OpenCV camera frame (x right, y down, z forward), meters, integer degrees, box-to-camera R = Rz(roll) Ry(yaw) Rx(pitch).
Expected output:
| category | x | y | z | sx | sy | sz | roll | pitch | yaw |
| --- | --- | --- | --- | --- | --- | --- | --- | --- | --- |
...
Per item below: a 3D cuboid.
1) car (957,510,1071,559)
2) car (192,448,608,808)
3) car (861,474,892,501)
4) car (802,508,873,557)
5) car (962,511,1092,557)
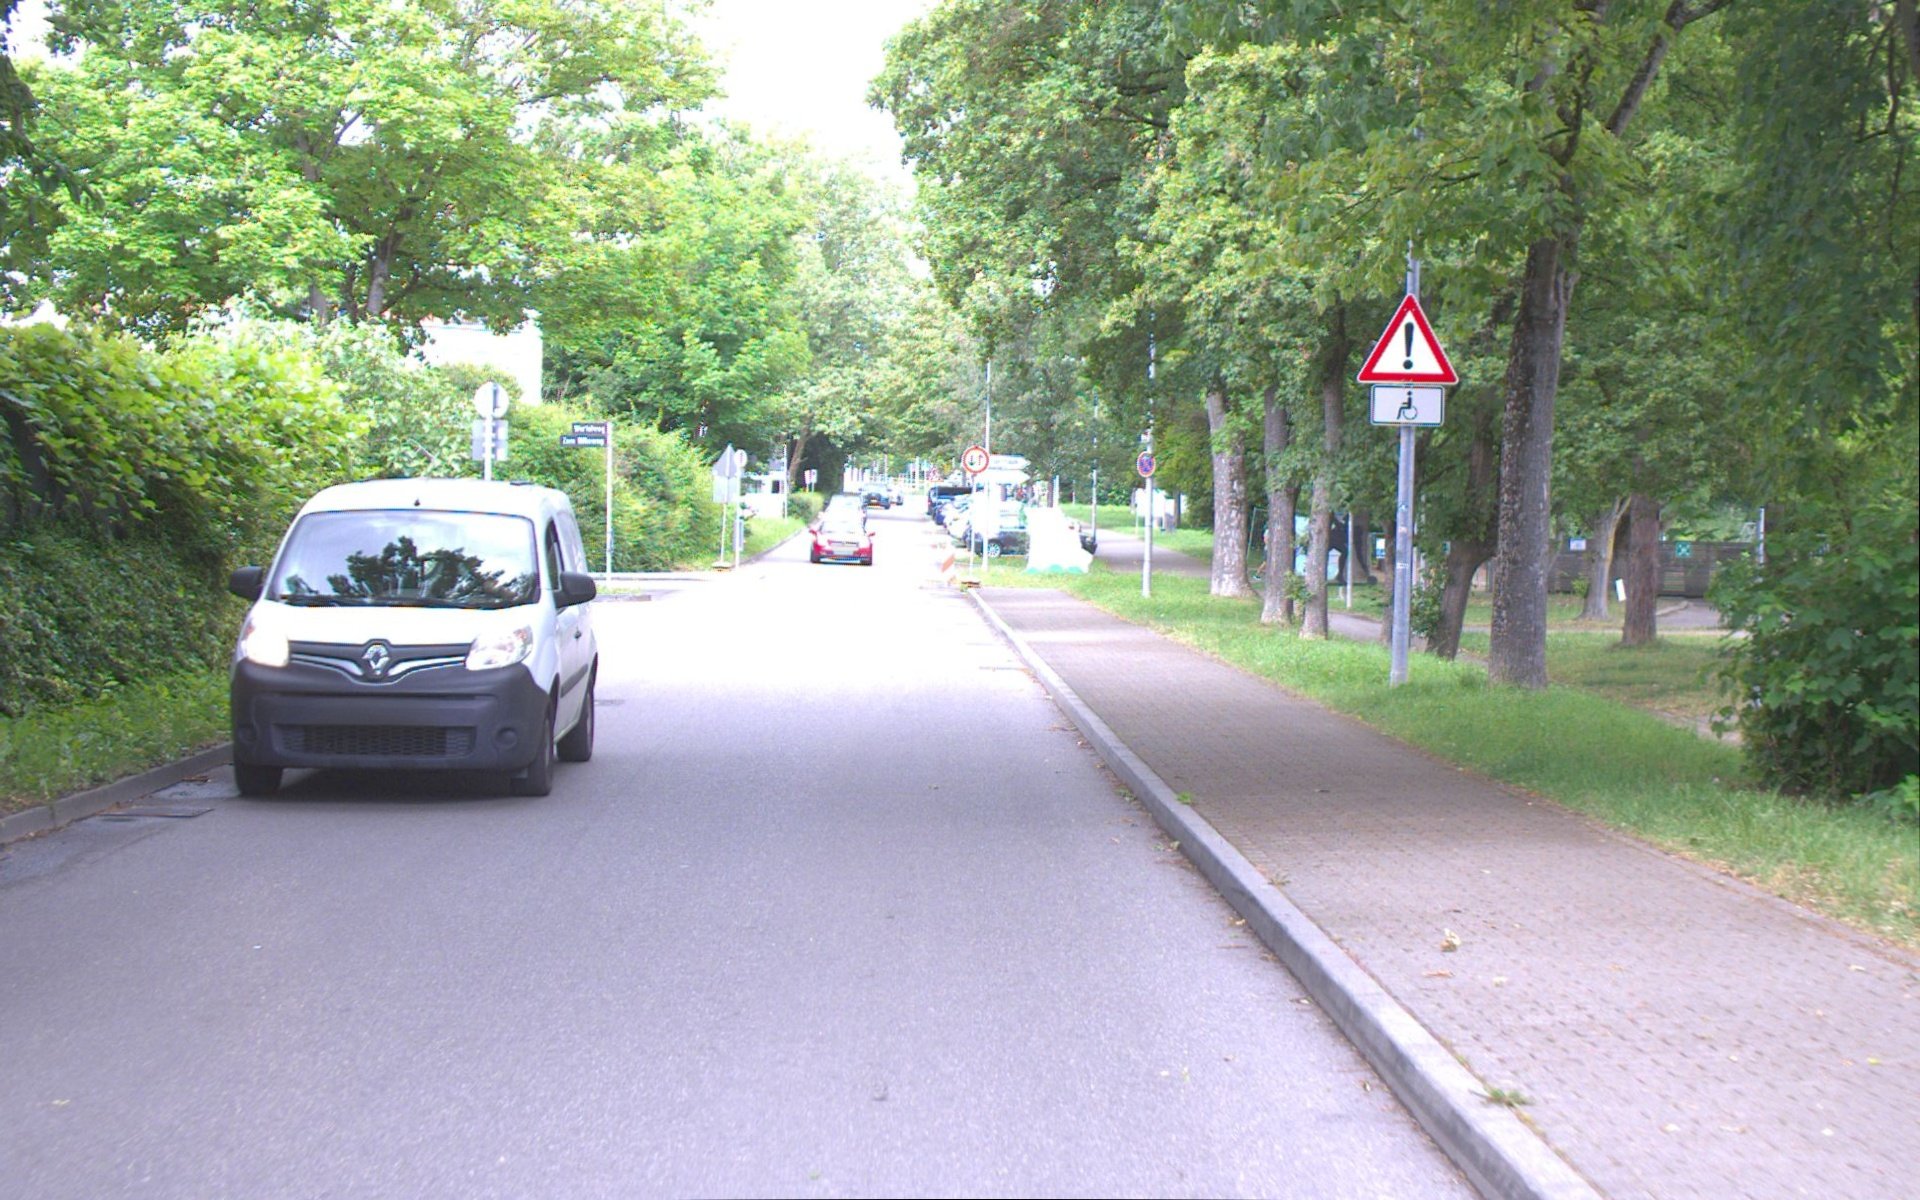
| category | x | y | z | sx | sy | sz | roll | pitch | yaw |
| --- | --- | --- | --- | --- | --- | --- | --- | --- | --- |
| car | 1.992 | -2.438 | 128.222 | 4.062 | 1.681 | 1.823 | -2 | 2 | -4 |
| car | -3.212 | 0.132 | 20.531 | 1.873 | 1.907 | 4.432 | 0 | 0 | -2 |
| car | -5.579 | -7.526 | 230.297 | 1.968 | 1.741 | 4.339 | 2 | 2 | -2 |
| car | -3.545 | -1.985 | 100.064 | 1.750 | 1.331 | 4.065 | 2 | 2 | 2 |
| car | 2.132 | -2.125 | 110.478 | 4.062 | 1.429 | 2.000 | 0 | 0 | -1 |
